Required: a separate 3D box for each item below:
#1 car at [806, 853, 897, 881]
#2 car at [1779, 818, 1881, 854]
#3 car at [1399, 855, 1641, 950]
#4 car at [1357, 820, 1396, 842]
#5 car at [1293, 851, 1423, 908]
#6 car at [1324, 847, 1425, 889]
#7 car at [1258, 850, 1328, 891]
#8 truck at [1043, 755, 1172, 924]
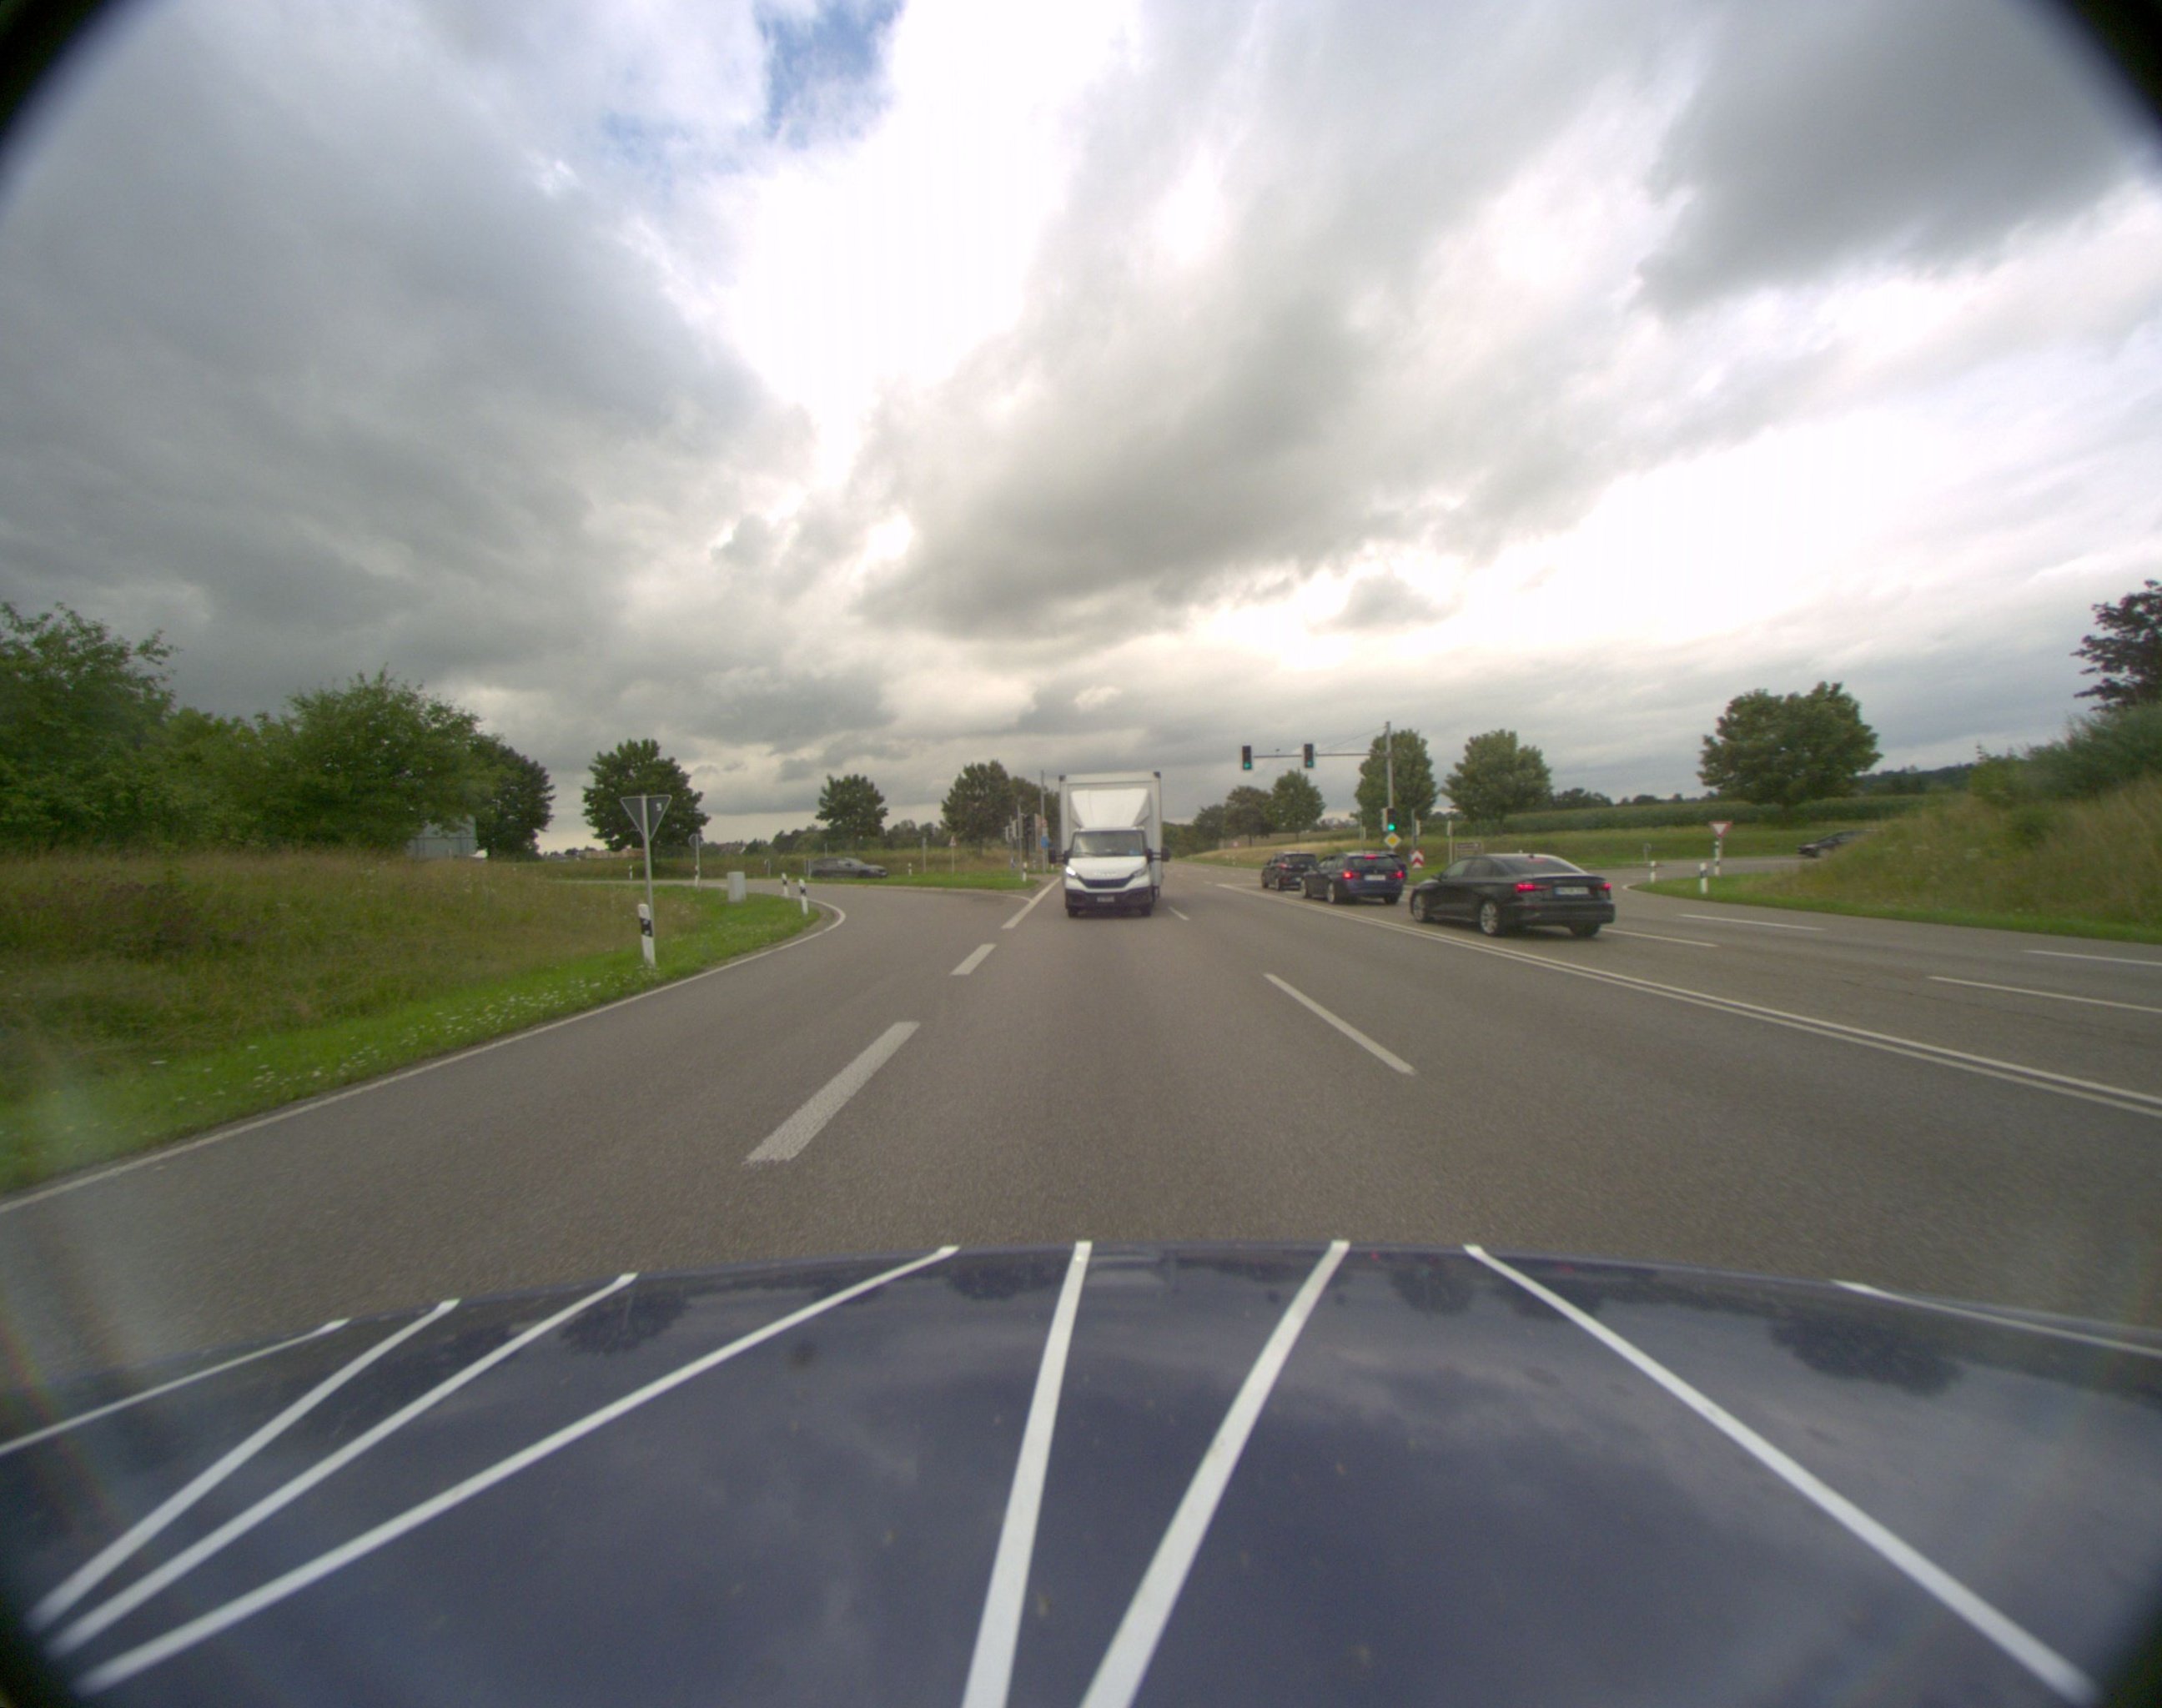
[{"bbox_3d":[-13.510,0.752,44.869,4.660,1.494,2.001,-1,1,9],"label":"car"},{"bbox_3d":[43.602,-1.035,44.307,3.997,2.002,2.000,-1,1,1],"label":"car"},{"bbox_3d":[7.728,0.752,13.988,1.770,1.375,4.543,-1,1,-1],"label":"car"},{"bbox_3d":[29.850,-2.299,76.926,1.999,2.002,3.998,-3,0,-6],"label":"car"},{"bbox_3d":[7.901,0.659,22.258,2.053,1.475,4.881,0,0,0],"label":"car"},{"bbox_3d":[11.779,0.508,30.920,2.050,1.526,5.125,-1,1,-1],"label":"car"},{"bbox_3d":[8.140,0.591,29.475,1.730,1.435,3.944,-1,0,2],"label":"car"},{"bbox_3d":[0.889,-0.369,21.429,2.836,3.742,8.801,-1,1,4],"label":"truck"}]
